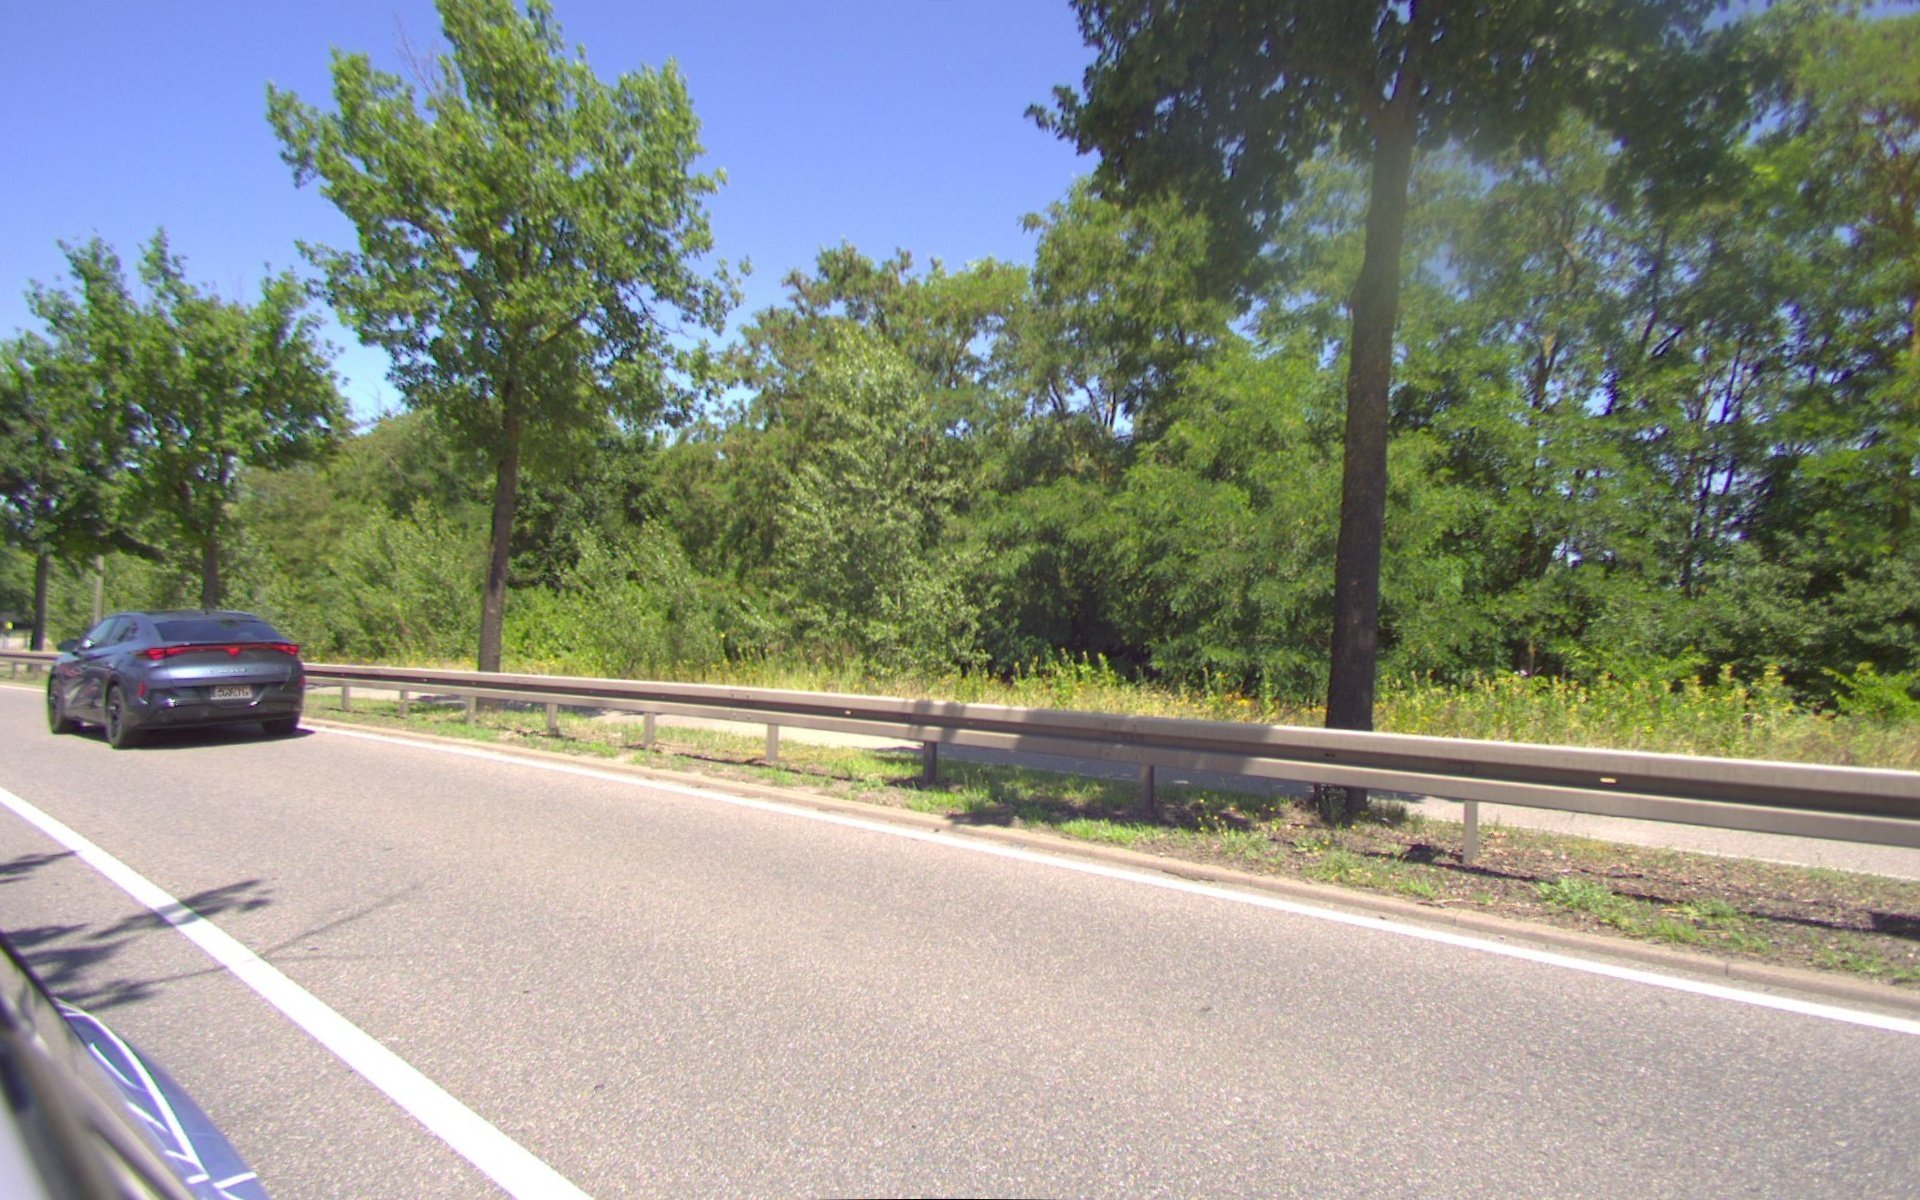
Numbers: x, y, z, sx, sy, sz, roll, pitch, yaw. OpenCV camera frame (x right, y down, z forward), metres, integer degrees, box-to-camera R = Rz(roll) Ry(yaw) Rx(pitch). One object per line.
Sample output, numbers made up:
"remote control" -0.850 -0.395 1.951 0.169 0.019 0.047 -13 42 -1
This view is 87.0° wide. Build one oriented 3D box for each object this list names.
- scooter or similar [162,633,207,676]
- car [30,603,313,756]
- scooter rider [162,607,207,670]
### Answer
"scooter or similar" -20.849 1.458 27.212 1.094 1.099 0.769 -1 -1 41
"car" -10.102 0.901 12.852 4.387 1.615 1.851 -2 -1 38
"scooter rider" -20.856 1.018 27.206 1.120 1.670 0.769 -1 -1 42
